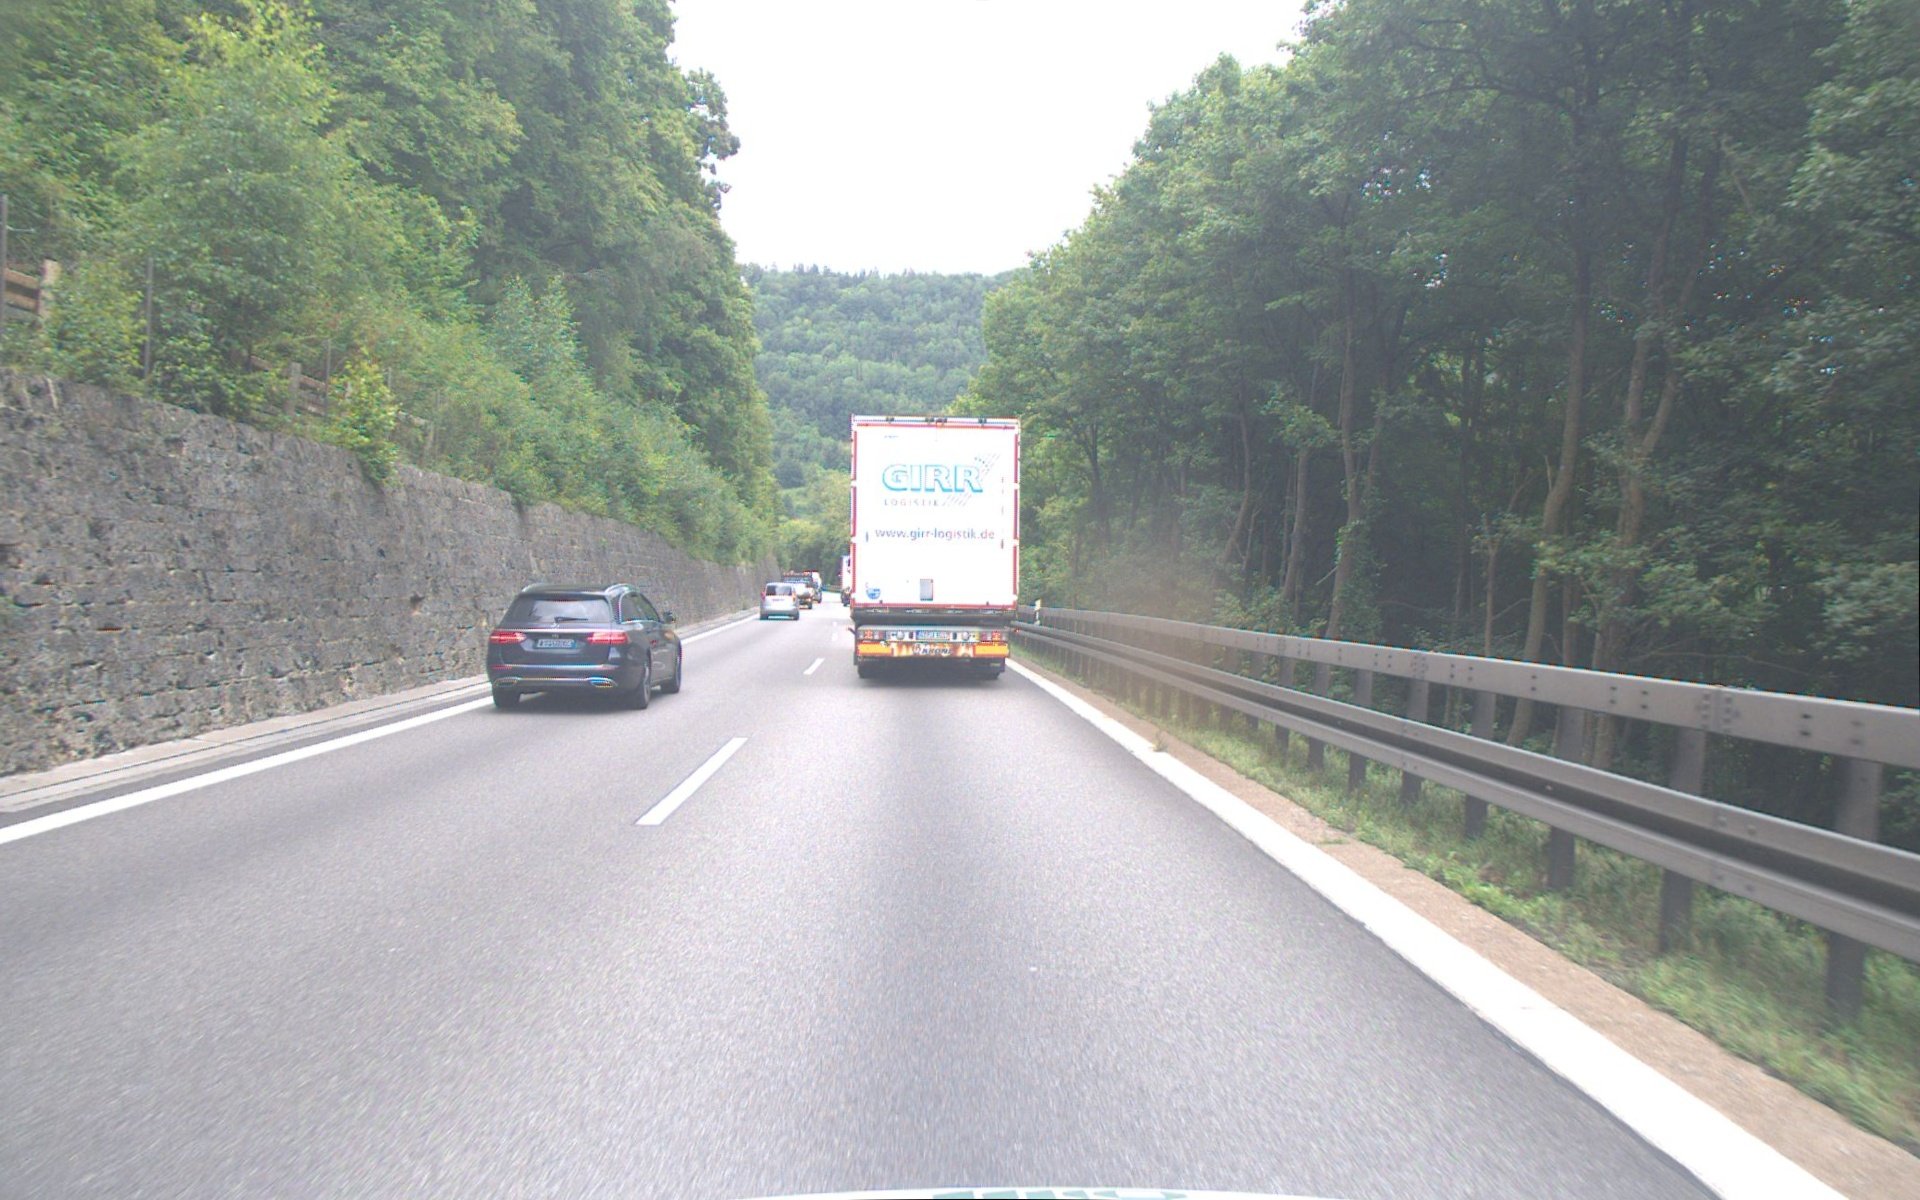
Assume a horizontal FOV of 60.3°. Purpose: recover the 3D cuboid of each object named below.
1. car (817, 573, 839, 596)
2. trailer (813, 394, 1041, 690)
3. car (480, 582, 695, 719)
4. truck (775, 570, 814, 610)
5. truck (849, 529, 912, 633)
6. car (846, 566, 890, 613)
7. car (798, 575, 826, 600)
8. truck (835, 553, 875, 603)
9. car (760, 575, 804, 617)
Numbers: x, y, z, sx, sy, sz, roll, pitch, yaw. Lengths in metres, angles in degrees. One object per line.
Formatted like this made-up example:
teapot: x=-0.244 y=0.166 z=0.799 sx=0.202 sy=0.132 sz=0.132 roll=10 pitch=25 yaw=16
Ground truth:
car: x=-12.571 y=-1.487 z=157.551 sx=1.955 sy=2.049 sz=3.996 roll=3 pitch=0 yaw=-5
trailer: x=-0.733 y=-0.903 z=28.913 sx=3.071 sy=4.112 sz=9.434 roll=4 pitch=0 yaw=-3
car: x=-4.588 y=0.543 z=21.106 sx=1.725 sy=1.489 sz=5.121 roll=1 pitch=1 yaw=-2
truck: x=-10.550 y=-0.654 z=105.523 sx=2.304 sy=2.313 sz=6.842 roll=3 pitch=0 yaw=-5
truck: x=-3.143 y=-0.733 z=67.014 sx=2.188 sy=3.870 sz=6.821 roll=3 pitch=0 yaw=-1
car: x=-4.319 y=-0.472 z=78.116 sx=1.954 sy=2.049 sz=4.331 roll=3 pitch=0 yaw=-3
car: x=-12.117 y=-1.047 z=135.524 sx=1.978 sy=1.947 sz=5.560 roll=3 pitch=0 yaw=-3
truck: x=-8.941 y=-1.837 z=140.584 sx=3.009 sy=3.944 sz=8.449 roll=3 pitch=0 yaw=-5
car: x=-7.861 y=-0.163 z=73.227 sx=1.601 sy=1.757 sz=4.343 roll=2 pitch=0 yaw=-2
